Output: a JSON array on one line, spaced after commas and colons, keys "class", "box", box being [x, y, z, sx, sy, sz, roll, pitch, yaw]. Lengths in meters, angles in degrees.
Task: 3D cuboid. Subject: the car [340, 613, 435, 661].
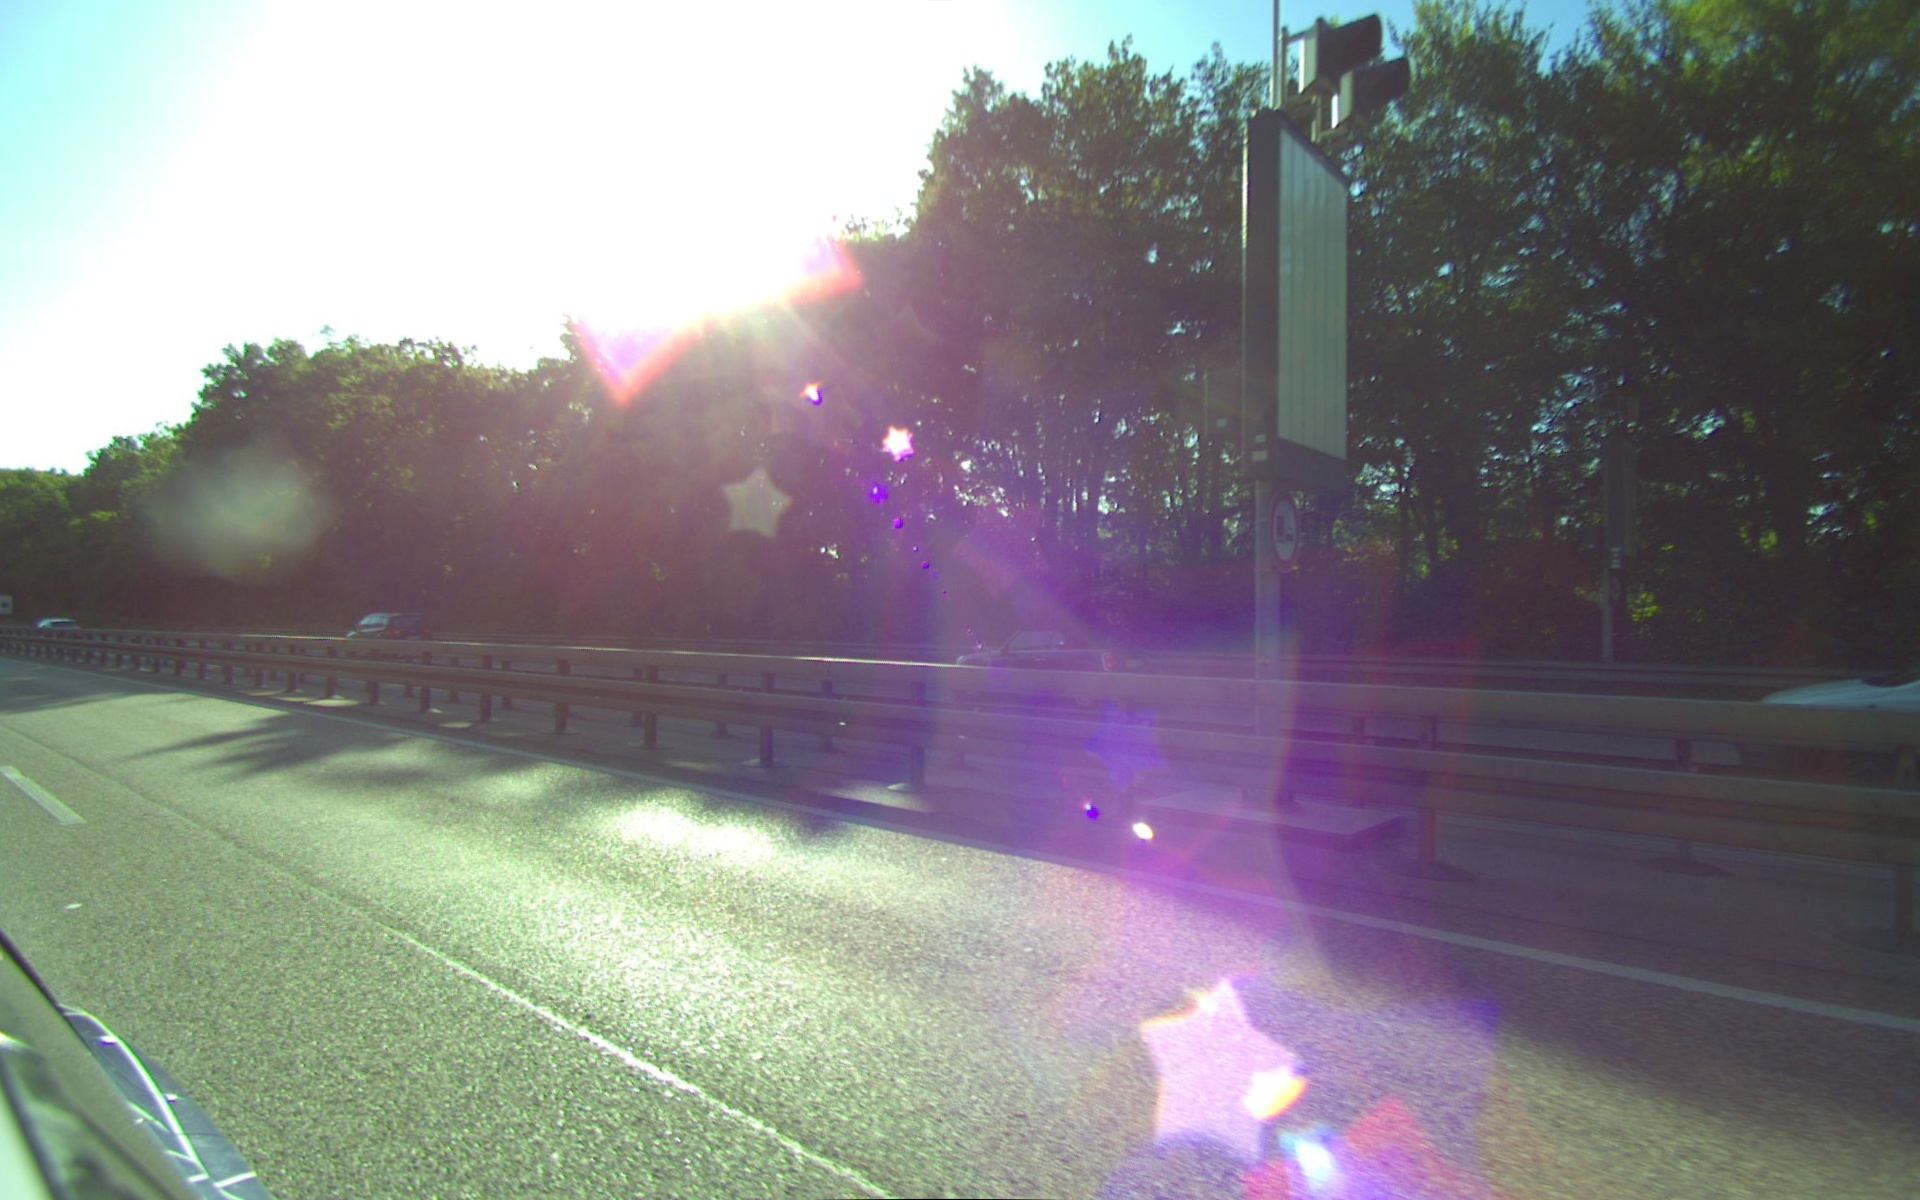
[{"class": "car", "box": [-21.320, 1.366, 37.612, 4.673, 1.651, 1.580, -1, -3, 41]}]

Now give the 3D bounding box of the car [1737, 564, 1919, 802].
[{"class": "car", "box": [8.986, 0.641, 7.474, 5.025, 1.802, 1.973, -1, -3, 41]}]

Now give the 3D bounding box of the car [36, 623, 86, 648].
[{"class": "car", "box": [-50.673, 1.998, 57.020, 3.908, 1.324, 1.581, -1, -3, 41]}]

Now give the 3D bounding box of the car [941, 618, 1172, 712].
[{"class": "car", "box": [1.630, 1.071, 17.993, 3.908, 1.492, 1.581, -1, -1, 41]}]
